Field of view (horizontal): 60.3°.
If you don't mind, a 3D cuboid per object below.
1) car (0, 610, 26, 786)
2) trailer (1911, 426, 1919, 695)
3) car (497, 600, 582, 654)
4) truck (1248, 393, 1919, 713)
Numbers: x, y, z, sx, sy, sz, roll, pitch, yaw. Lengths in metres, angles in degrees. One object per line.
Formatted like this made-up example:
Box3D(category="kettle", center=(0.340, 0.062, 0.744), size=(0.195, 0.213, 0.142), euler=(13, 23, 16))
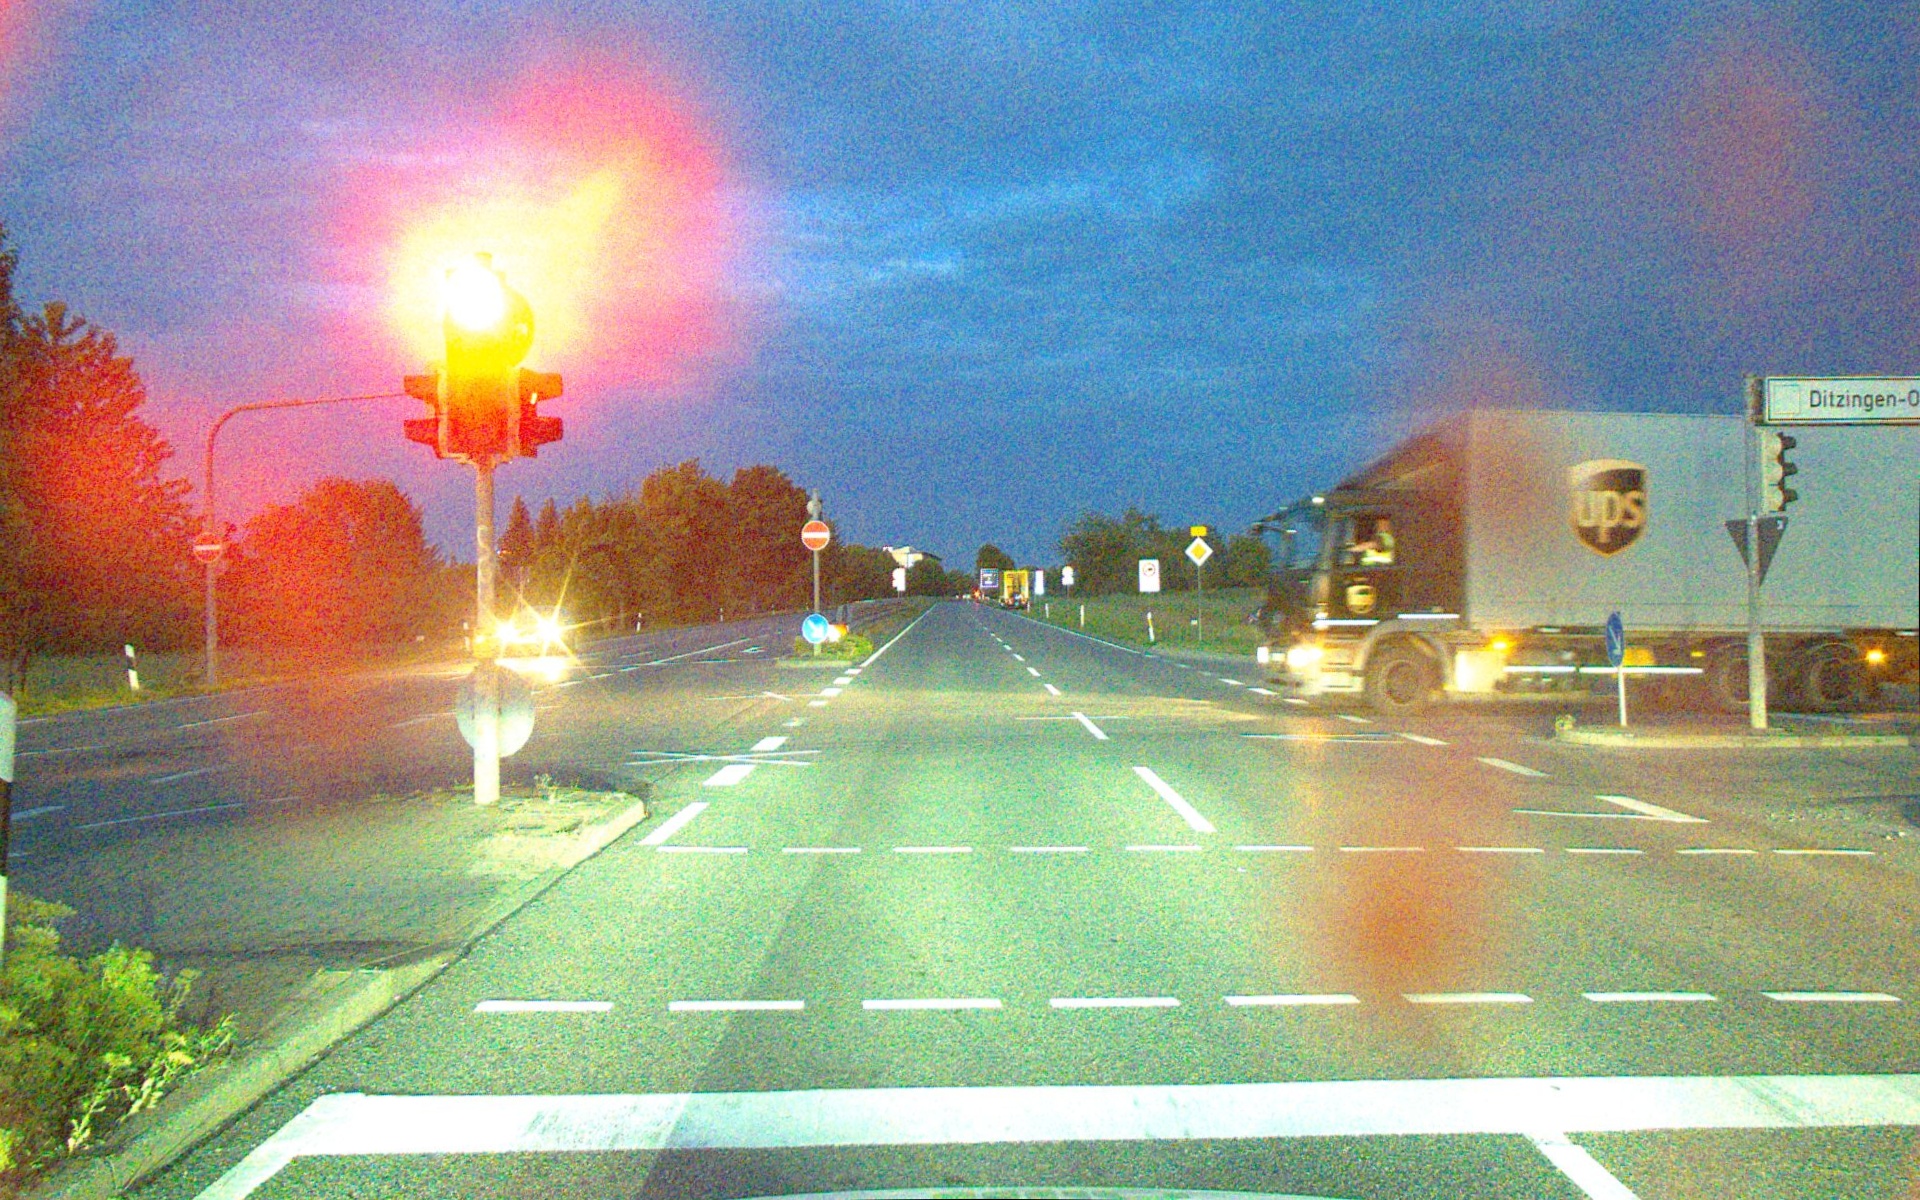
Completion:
Box3D(category="car", center=(-9.973, 0.917, 12.946), size=(1.595, 1.531, 4.590), euler=(-1, 0, 23))
Box3D(category="trailer", center=(18.755, -0.703, 24.086), size=(8.681, 4.012, 2.581), euler=(-2, 0, -8))
Box3D(category="car", center=(-12.731, 0.789, 50.286), size=(1.596, 1.400, 3.589), euler=(-5, 1, -1))
Box3D(category="truck", center=(9.361, -0.638, 23.323), size=(10.107, 4.189, 2.733), euler=(0, 0, -4))
